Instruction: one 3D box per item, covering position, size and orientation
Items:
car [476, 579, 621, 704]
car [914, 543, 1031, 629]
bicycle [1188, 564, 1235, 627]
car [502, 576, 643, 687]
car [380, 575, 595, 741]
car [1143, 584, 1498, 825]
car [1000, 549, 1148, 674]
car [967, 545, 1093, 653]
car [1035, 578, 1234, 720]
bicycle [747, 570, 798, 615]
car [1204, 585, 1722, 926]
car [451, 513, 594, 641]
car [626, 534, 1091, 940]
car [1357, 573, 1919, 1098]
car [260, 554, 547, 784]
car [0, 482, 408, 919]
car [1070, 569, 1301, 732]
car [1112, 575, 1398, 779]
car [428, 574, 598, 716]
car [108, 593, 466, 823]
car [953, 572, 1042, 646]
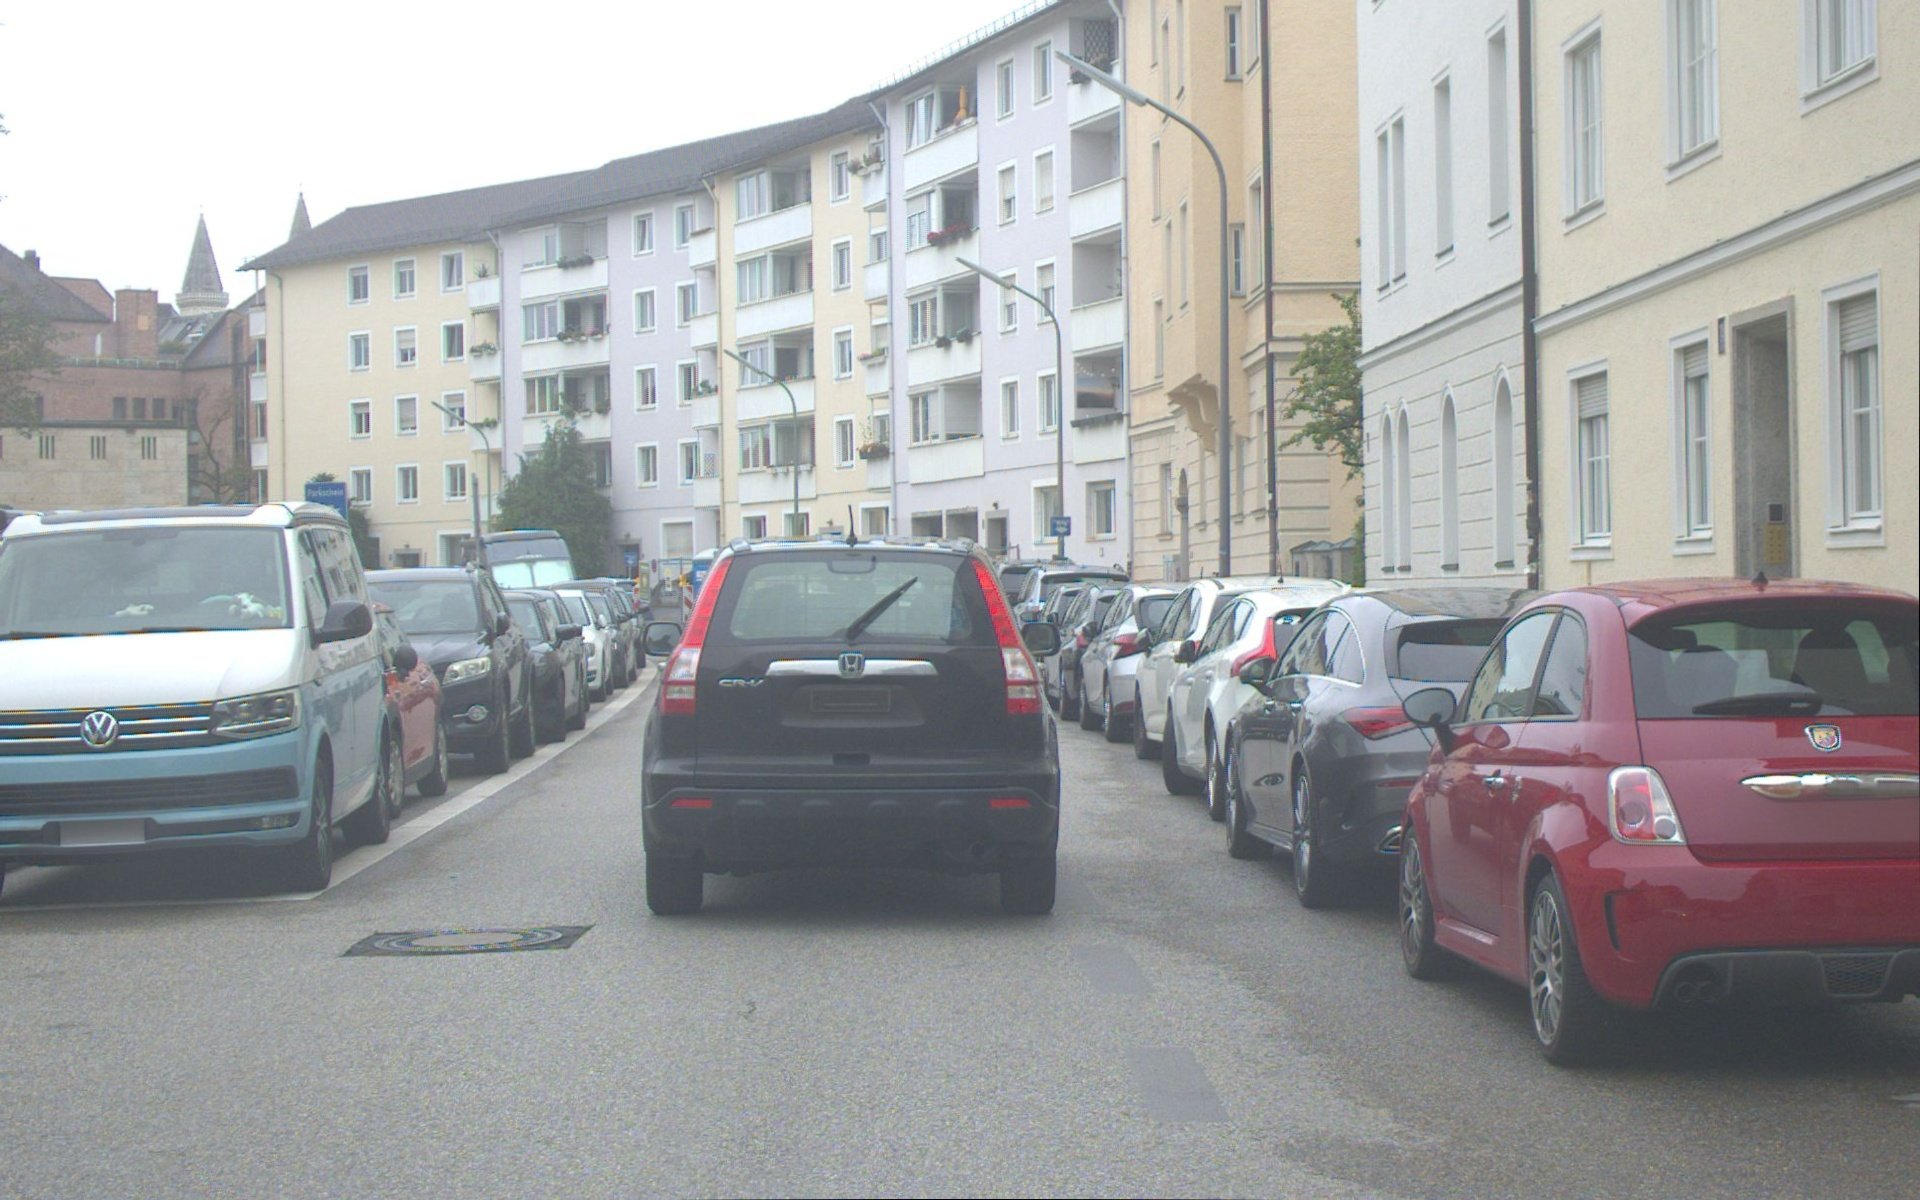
[{"bbox_3d":[-5.303,0.502,44.688,1.656,1.448,4.074,-3,1,-5],"label":"car"},{"bbox_3d":[0.238,-0.312,74.714,1.777,1.800,4.277,1,0,-10],"label":"car"},{"bbox_3d":[4.562,-0.085,62.402,0.579,1.079,1.953,-3,1,-2],"label":"bicycle"},{"bbox_3d":[-5.562,0.421,49.766,1.754,1.448,4.396,-3,1,-4],"label":"car"},{"bbox_3d":[-4.587,0.521,33.821,1.680,1.448,3.870,-3,1,-2],"label":"car"},{"bbox_3d":[2.260,0.609,22.638,1.679,1.405,4.443,-1,0,-2],"label":"car"},{"bbox_3d":[1.536,0.141,47.641,1.722,1.628,4.458,-1,0,-2],"label":"car"},{"bbox_3d":[1.128,-0.031,57.512,1.869,1.711,4.866,1,0,-1],"label":"car"},{"bbox_3d":[1.821,0.486,37.183,1.679,1.422,4.392,-1,0,-3],"label":"car"},{"bbox_3d":[-5.801,-0.240,106.276,0.968,1.384,2.564,-1,0,-17],"label":"bicycle"},{"bbox_3d":[2.279,0.644,16.699,1.679,1.405,4.422,-1,0,-2],"label":"car"},{"bbox_3d":[-9.700,-0.527,75.804,2.163,2.632,6.019,-2,1,-16],"label":"car"},{"bbox_3d":[-0.584,0.545,16.112,1.890,1.642,3.992,-1,0,-5],"label":"car"},{"bbox_3d":[2.512,0.662,11.828,1.679,1.492,3.824,-1,0,-2],"label":"car"},{"bbox_3d":[-4.565,0.510,28.773,1.743,1.660,4.449,-4,1,-2],"label":"car"},{"bbox_3d":[-4.185,0.455,18.417,1.928,1.972,5.023,-2,0,-4],"label":"car"},{"bbox_3d":[2.074,0.433,32.606,1.679,1.422,4.167,-1,0,-3],"label":"car"},{"bbox_3d":[2.263,0.551,27.365,1.679,1.476,4.167,-1,0,-3],"label":"car"},{"bbox_3d":[-5.027,0.465,39.066,1.656,1.448,3.975,-3,1,-5],"label":"car"},{"bbox_3d":[-4.430,0.659,23.162,1.743,1.382,3.918,0,1,-2],"label":"car"},{"bbox_3d":[0.741,0.169,69.590,1.708,1.442,3.830,1,0,-1],"label":"car"}]
